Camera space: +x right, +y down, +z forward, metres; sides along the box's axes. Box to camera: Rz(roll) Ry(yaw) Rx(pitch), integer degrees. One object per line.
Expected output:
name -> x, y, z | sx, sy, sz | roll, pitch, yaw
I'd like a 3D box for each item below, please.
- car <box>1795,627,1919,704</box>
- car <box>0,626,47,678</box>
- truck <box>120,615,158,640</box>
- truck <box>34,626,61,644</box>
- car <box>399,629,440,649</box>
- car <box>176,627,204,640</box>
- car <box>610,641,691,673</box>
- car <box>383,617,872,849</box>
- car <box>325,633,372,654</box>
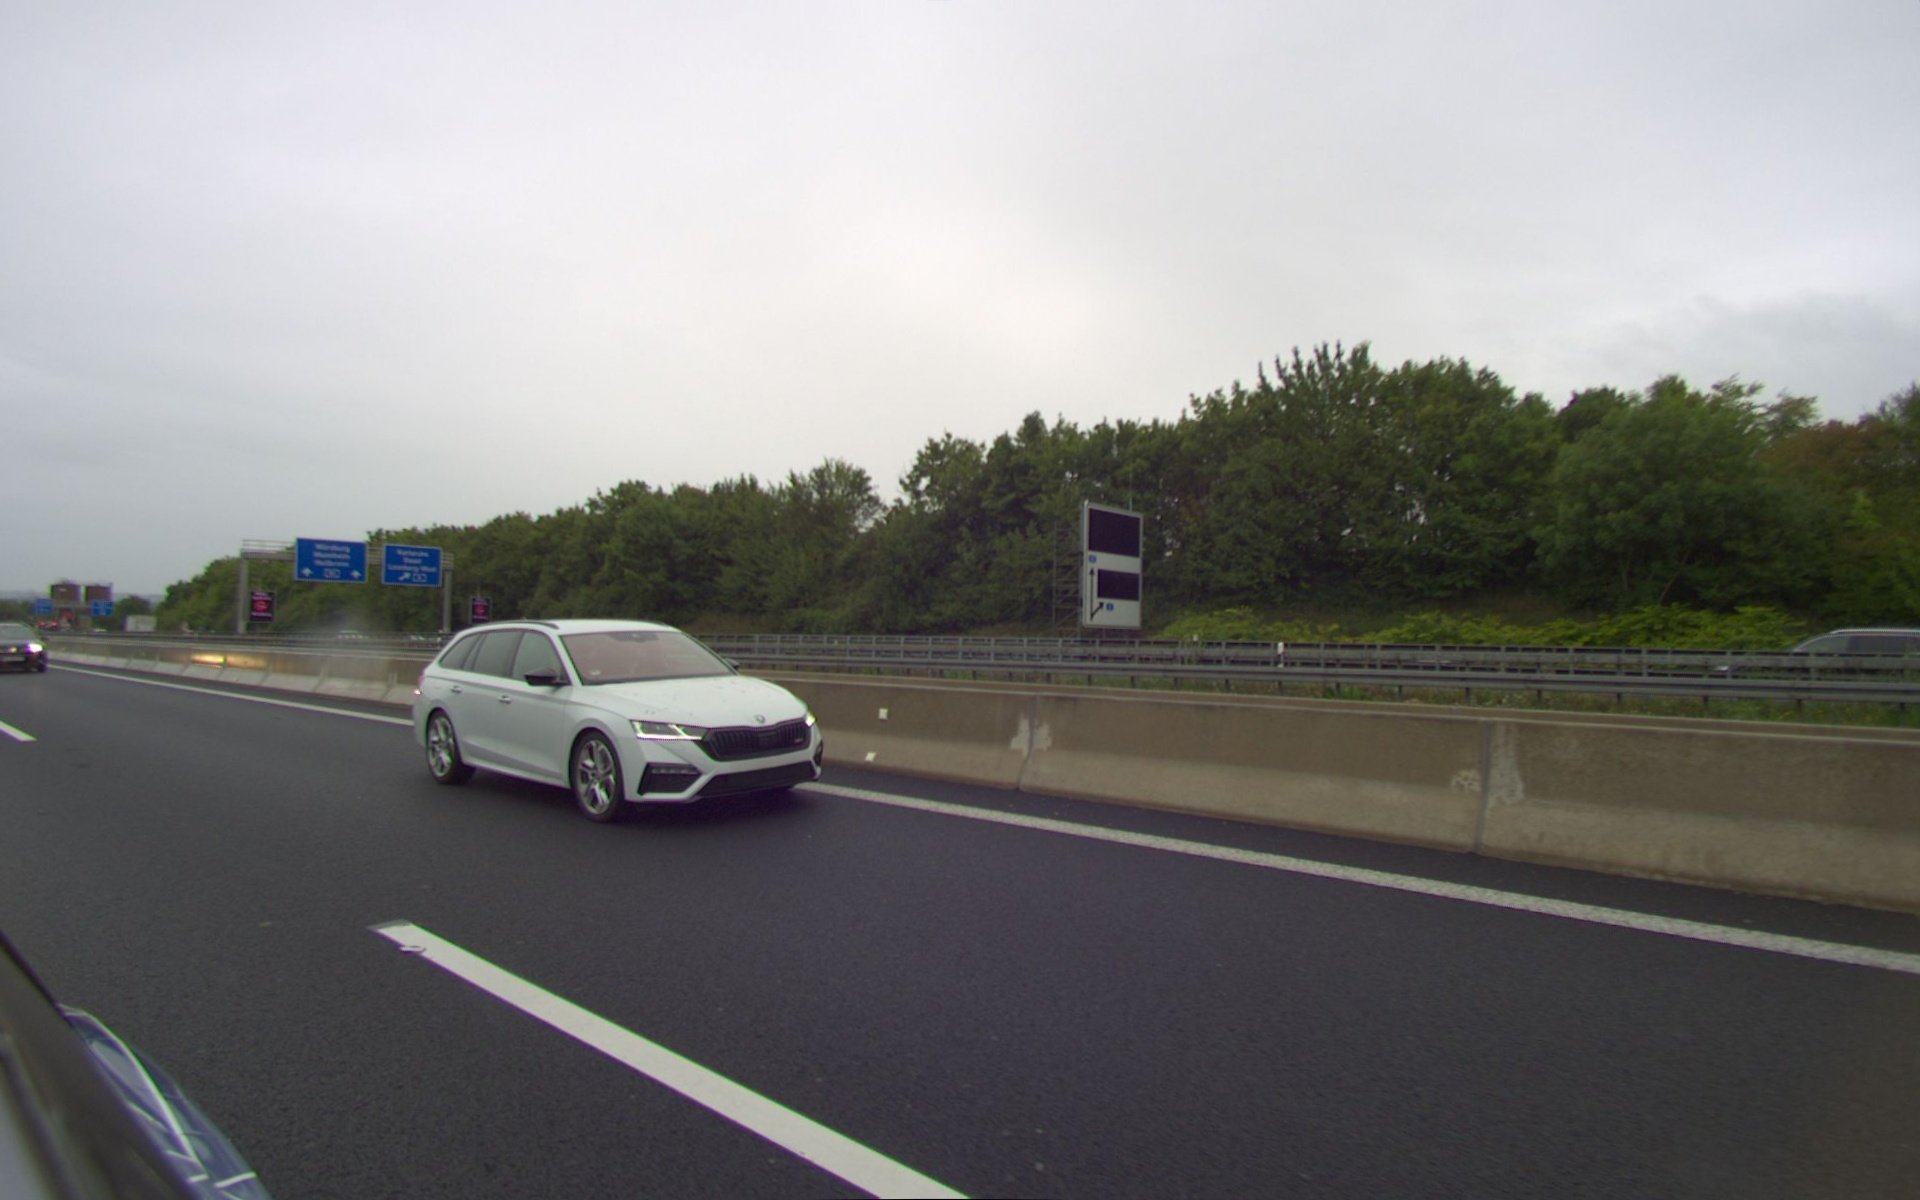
car -> 19.532, 1.304, 20.301 | 4.254, 1.467, 1.800 | -1, -1, 40
car -> -29.502, 1.551, 31.043 | 4.565, 1.500, 1.703 | -1, -1, 41
truck -> -129.359, 4.272, 159.469 | 9.630, 3.908, 3.042 | -1, -1, 41
truck -> -177.134, 6.751, 196.391 | 9.074, 3.245, 2.821 | -1, -1, 41
car -> -46.895, 3.354, 87.766 | 4.055, 1.644, 1.800 | -1, -1, 40
car -> -94.038, 4.056, 123.572 | 4.471, 1.504, 1.800 | -1, -1, 40
car -> -16.220, 2.950, 52.878 | 4.562, 1.467, 1.801 | -1, -1, 39
car -> -3.062, 0.884, 8.677 | 4.775, 1.467, 1.800 | -1, -1, 41
car -> -47.132, 3.347, 77.960 | 4.265, 1.467, 1.800 | -1, -1, 40
